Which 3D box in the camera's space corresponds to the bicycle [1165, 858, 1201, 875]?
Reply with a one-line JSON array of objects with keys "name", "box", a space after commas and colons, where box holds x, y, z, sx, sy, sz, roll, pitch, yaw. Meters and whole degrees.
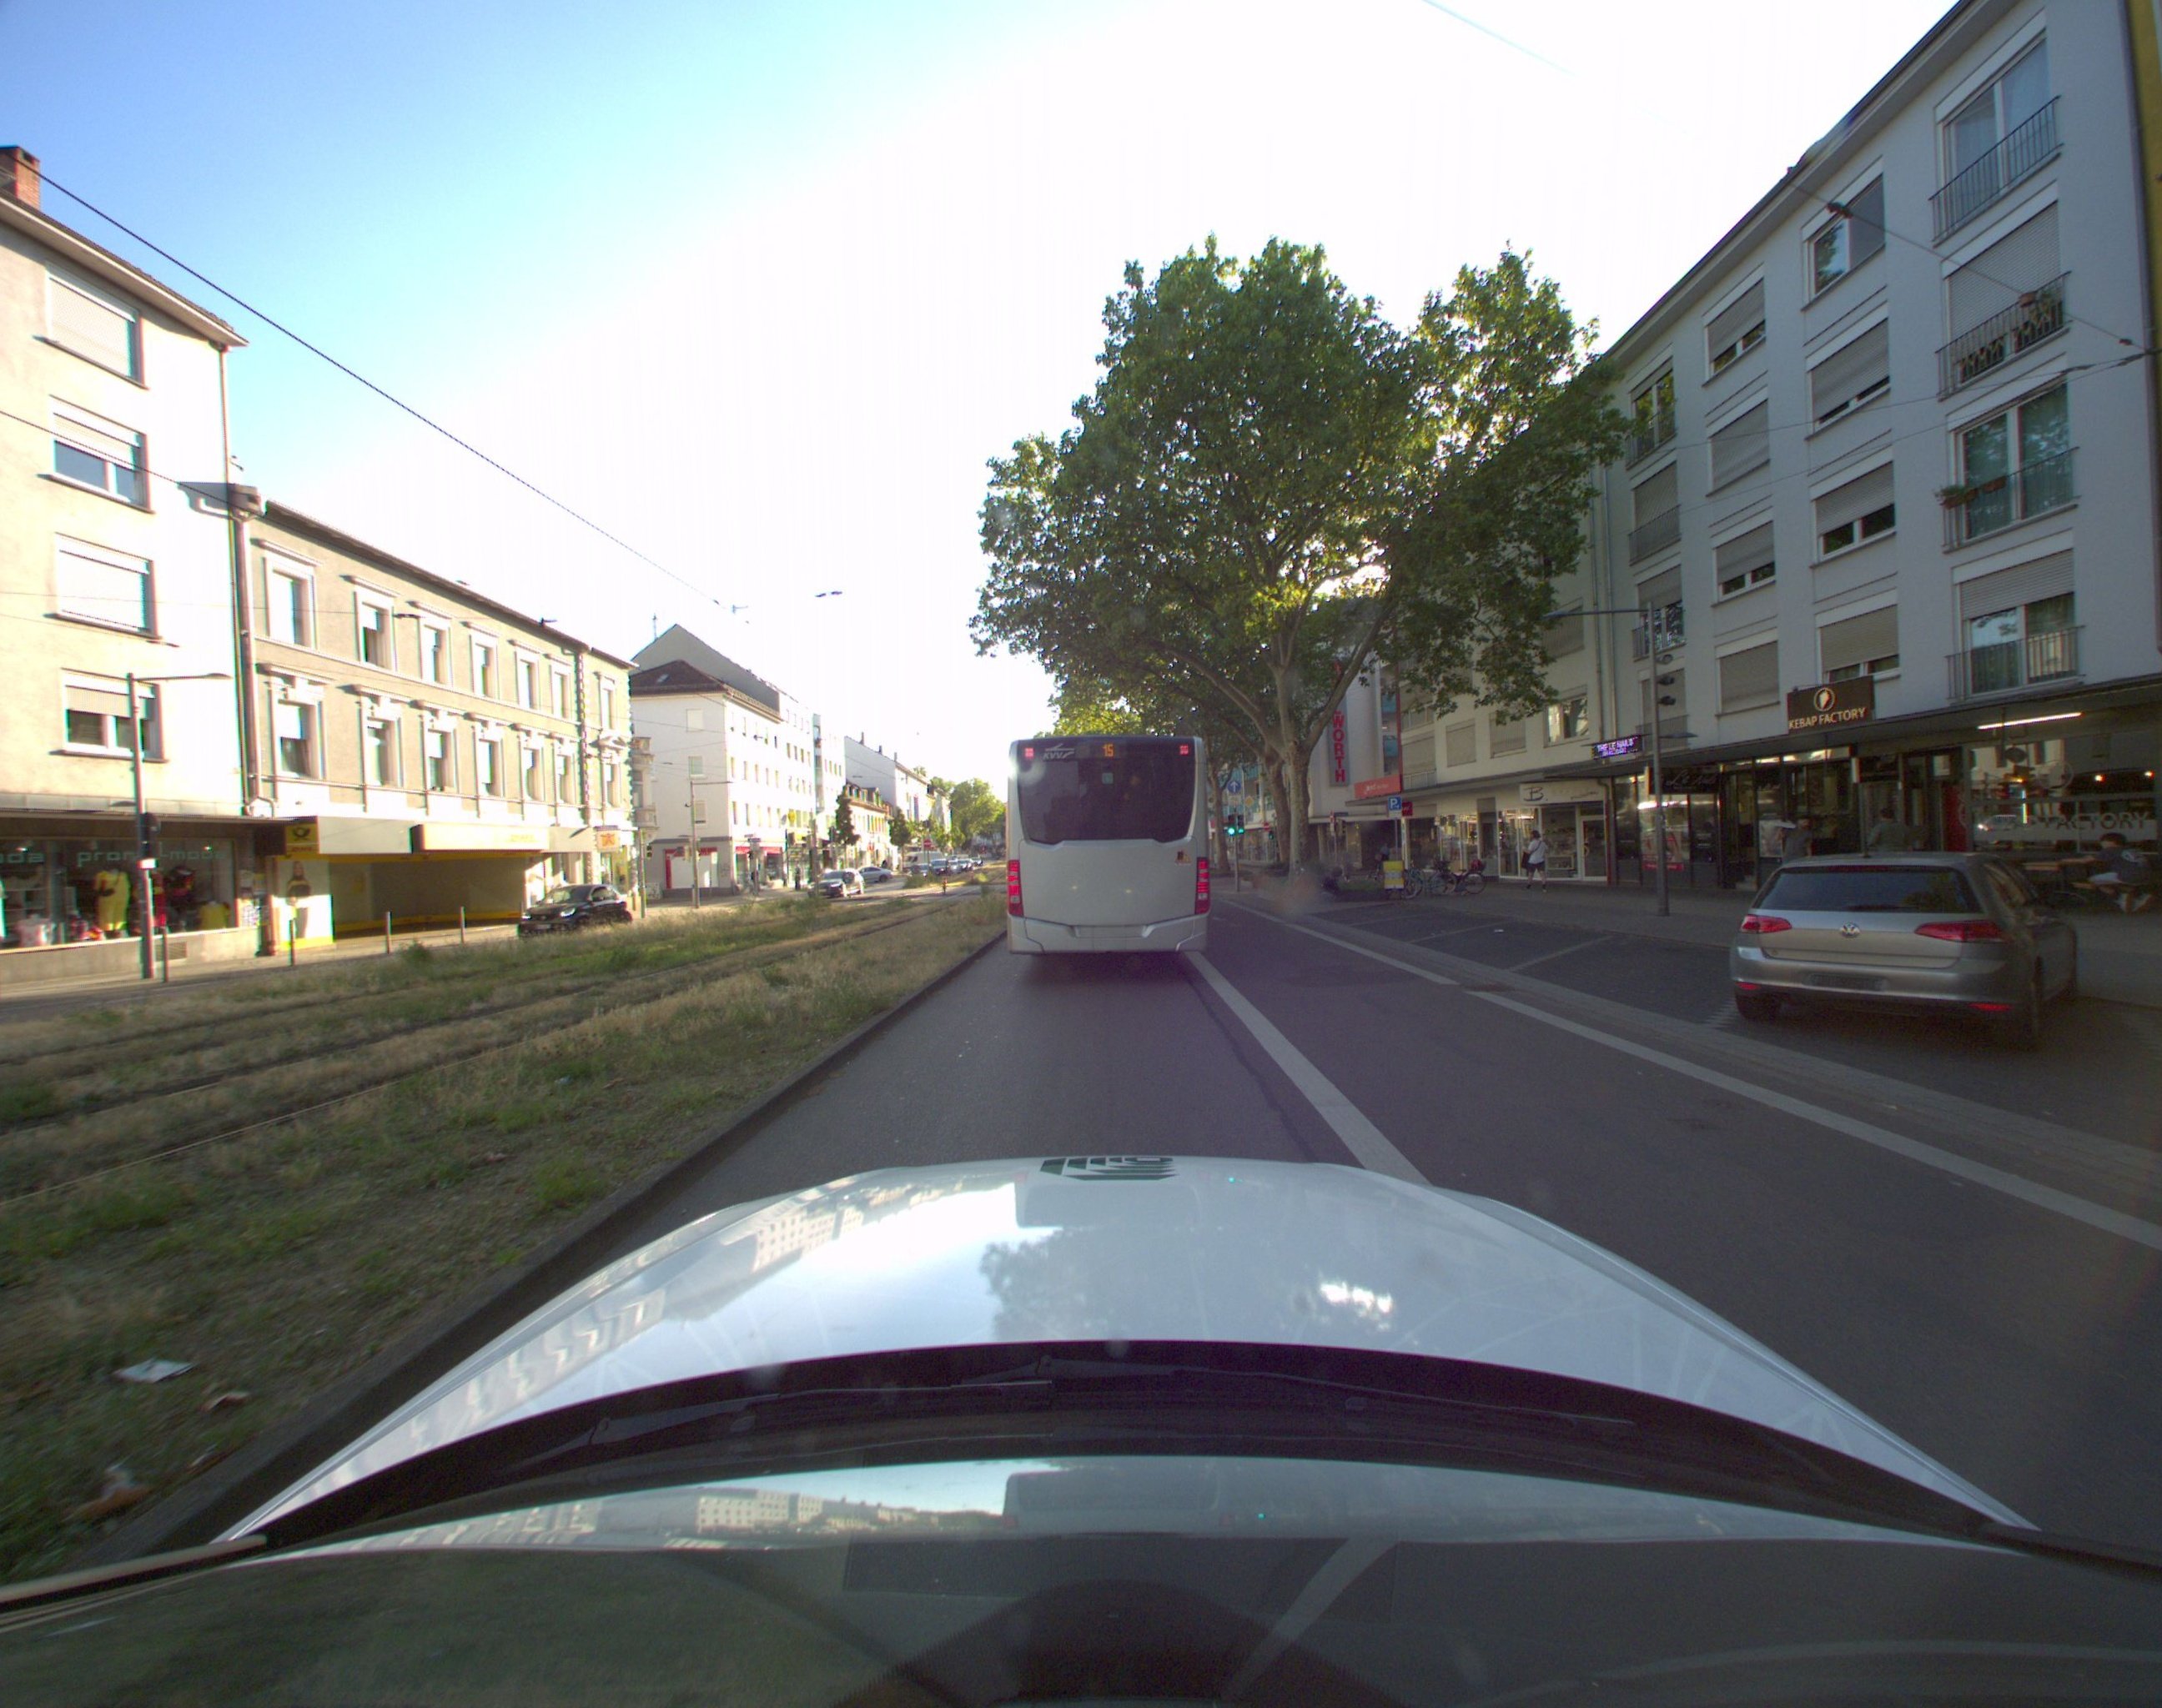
[{"name": "bicycle", "box": [7.025, 0.875, 55.911, 2.307, 1.028, 0.835, -2, 1, -7]}]

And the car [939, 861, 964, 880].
[{"name": "car", "box": [-13.433, 1.686, 84.506, 1.892, 1.804, 3.998, -2, 0, -1]}]

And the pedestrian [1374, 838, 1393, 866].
[{"name": "pedestrian", "box": [18.640, -0.104, 50.209, 0.746, 1.679, 0.834, -2, 2, -5]}]

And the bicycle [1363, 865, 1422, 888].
[{"name": "bicycle", "box": [11.232, 0.808, 29.369, 1.864, 0.765, 0.713, -2, 0, 10]}]

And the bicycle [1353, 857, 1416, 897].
[{"name": "bicycle", "box": [10.499, 0.794, 28.258, 1.865, 1.189, 0.713, -5, -1, 10]}]

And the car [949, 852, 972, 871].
[{"name": "car", "box": [-13.838, 0.879, 93.878, 1.988, 2.013, 3.998, -2, 0, -1]}]

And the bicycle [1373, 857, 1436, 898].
[{"name": "bicycle", "box": [10.855, 0.780, 27.351, 1.784, 1.189, 0.670, -5, -1, -7]}]

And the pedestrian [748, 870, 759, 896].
[{"name": "pedestrian", "box": [-21.420, 1.897, 53.209, 0.423, 1.713, 0.509, -2, -1, 6]}]

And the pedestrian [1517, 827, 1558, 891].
[{"name": "pedestrian", "box": [13.843, 0.159, 24.714, 0.643, 1.876, 0.821, -2, -1, -12]}]

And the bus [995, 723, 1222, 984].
[{"name": "bus", "box": [0.504, -0.008, 13.328, 2.667, 3.083, 7.119, -1, 0, 3]}]

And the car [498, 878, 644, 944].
[{"name": "car", "box": [-14.241, 1.535, 22.984, 1.715, 1.509, 3.478, -5, -1, 3]}]

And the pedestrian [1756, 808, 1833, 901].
[{"name": "pedestrian", "box": [15.021, 0.006, 17.160, 0.734, 1.876, 0.911, -2, -1, -6]}]

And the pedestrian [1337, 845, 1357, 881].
[{"name": "pedestrian", "box": [13.896, 0.463, 42.545, 0.777, 1.794, 0.764, -2, -1, 2]}]

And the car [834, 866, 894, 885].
[{"name": "car", "box": [-18.688, 1.841, 70.129, 4.571, 1.412, 1.978, -2, 0, -35]}]

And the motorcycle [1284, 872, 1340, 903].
[{"name": "motorcycle", "box": [7.148, 1.037, 25.255, 1.566, 0.892, 0.544, -3, -1, -2]}]

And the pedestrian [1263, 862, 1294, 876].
[{"name": "pedestrian", "box": [8.765, 0.652, 36.133, 1.250, 0.589, 0.482, -1, -1, -1]}]

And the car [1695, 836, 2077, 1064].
[{"name": "car", "box": [7.445, 0.643, 7.410, 4.196, 1.451, 1.789, -2, -1, -36]}]

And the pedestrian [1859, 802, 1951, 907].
[{"name": "pedestrian", "box": [14.852, 0.010, 14.700, 0.703, 1.791, 0.789, -5, -1, 7]}]

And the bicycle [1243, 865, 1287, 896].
[{"name": "bicycle", "box": [6.771, 0.968, 29.922, 1.503, 1.105, 0.460, 1, 0, 2]}]

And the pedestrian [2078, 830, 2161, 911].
[{"name": "pedestrian", "box": [15.483, 0.243, 12.145, 0.416, 1.157, 0.626, -2, -1, 5]}]

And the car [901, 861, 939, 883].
[{"name": "car", "box": [-12.431, 1.380, 63.086, 1.773, 1.450, 4.049, -4, 1, 4]}]

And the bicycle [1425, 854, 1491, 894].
[{"name": "bicycle", "box": [12.116, 0.631, 26.242, 1.753, 1.154, 0.680, -4, -1, 10]}]

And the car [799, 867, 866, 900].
[{"name": "car", "box": [-13.354, 1.533, 44.080, 1.986, 1.559, 4.776, -2, 0, 2]}]

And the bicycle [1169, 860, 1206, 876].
[{"name": "bicycle", "box": [7.183, 0.928, 54.811, 2.307, 0.939, 0.835, -2, 1, -7]}]

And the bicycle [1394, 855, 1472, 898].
[{"name": "bicycle", "box": [11.149, 0.704, 25.883, 2.070, 1.233, 0.833, -3, -1, 6]}]

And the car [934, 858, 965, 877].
[{"name": "car", "box": [-11.710, 1.168, 72.801, 1.773, 1.615, 4.513, -2, 0, 4]}]
